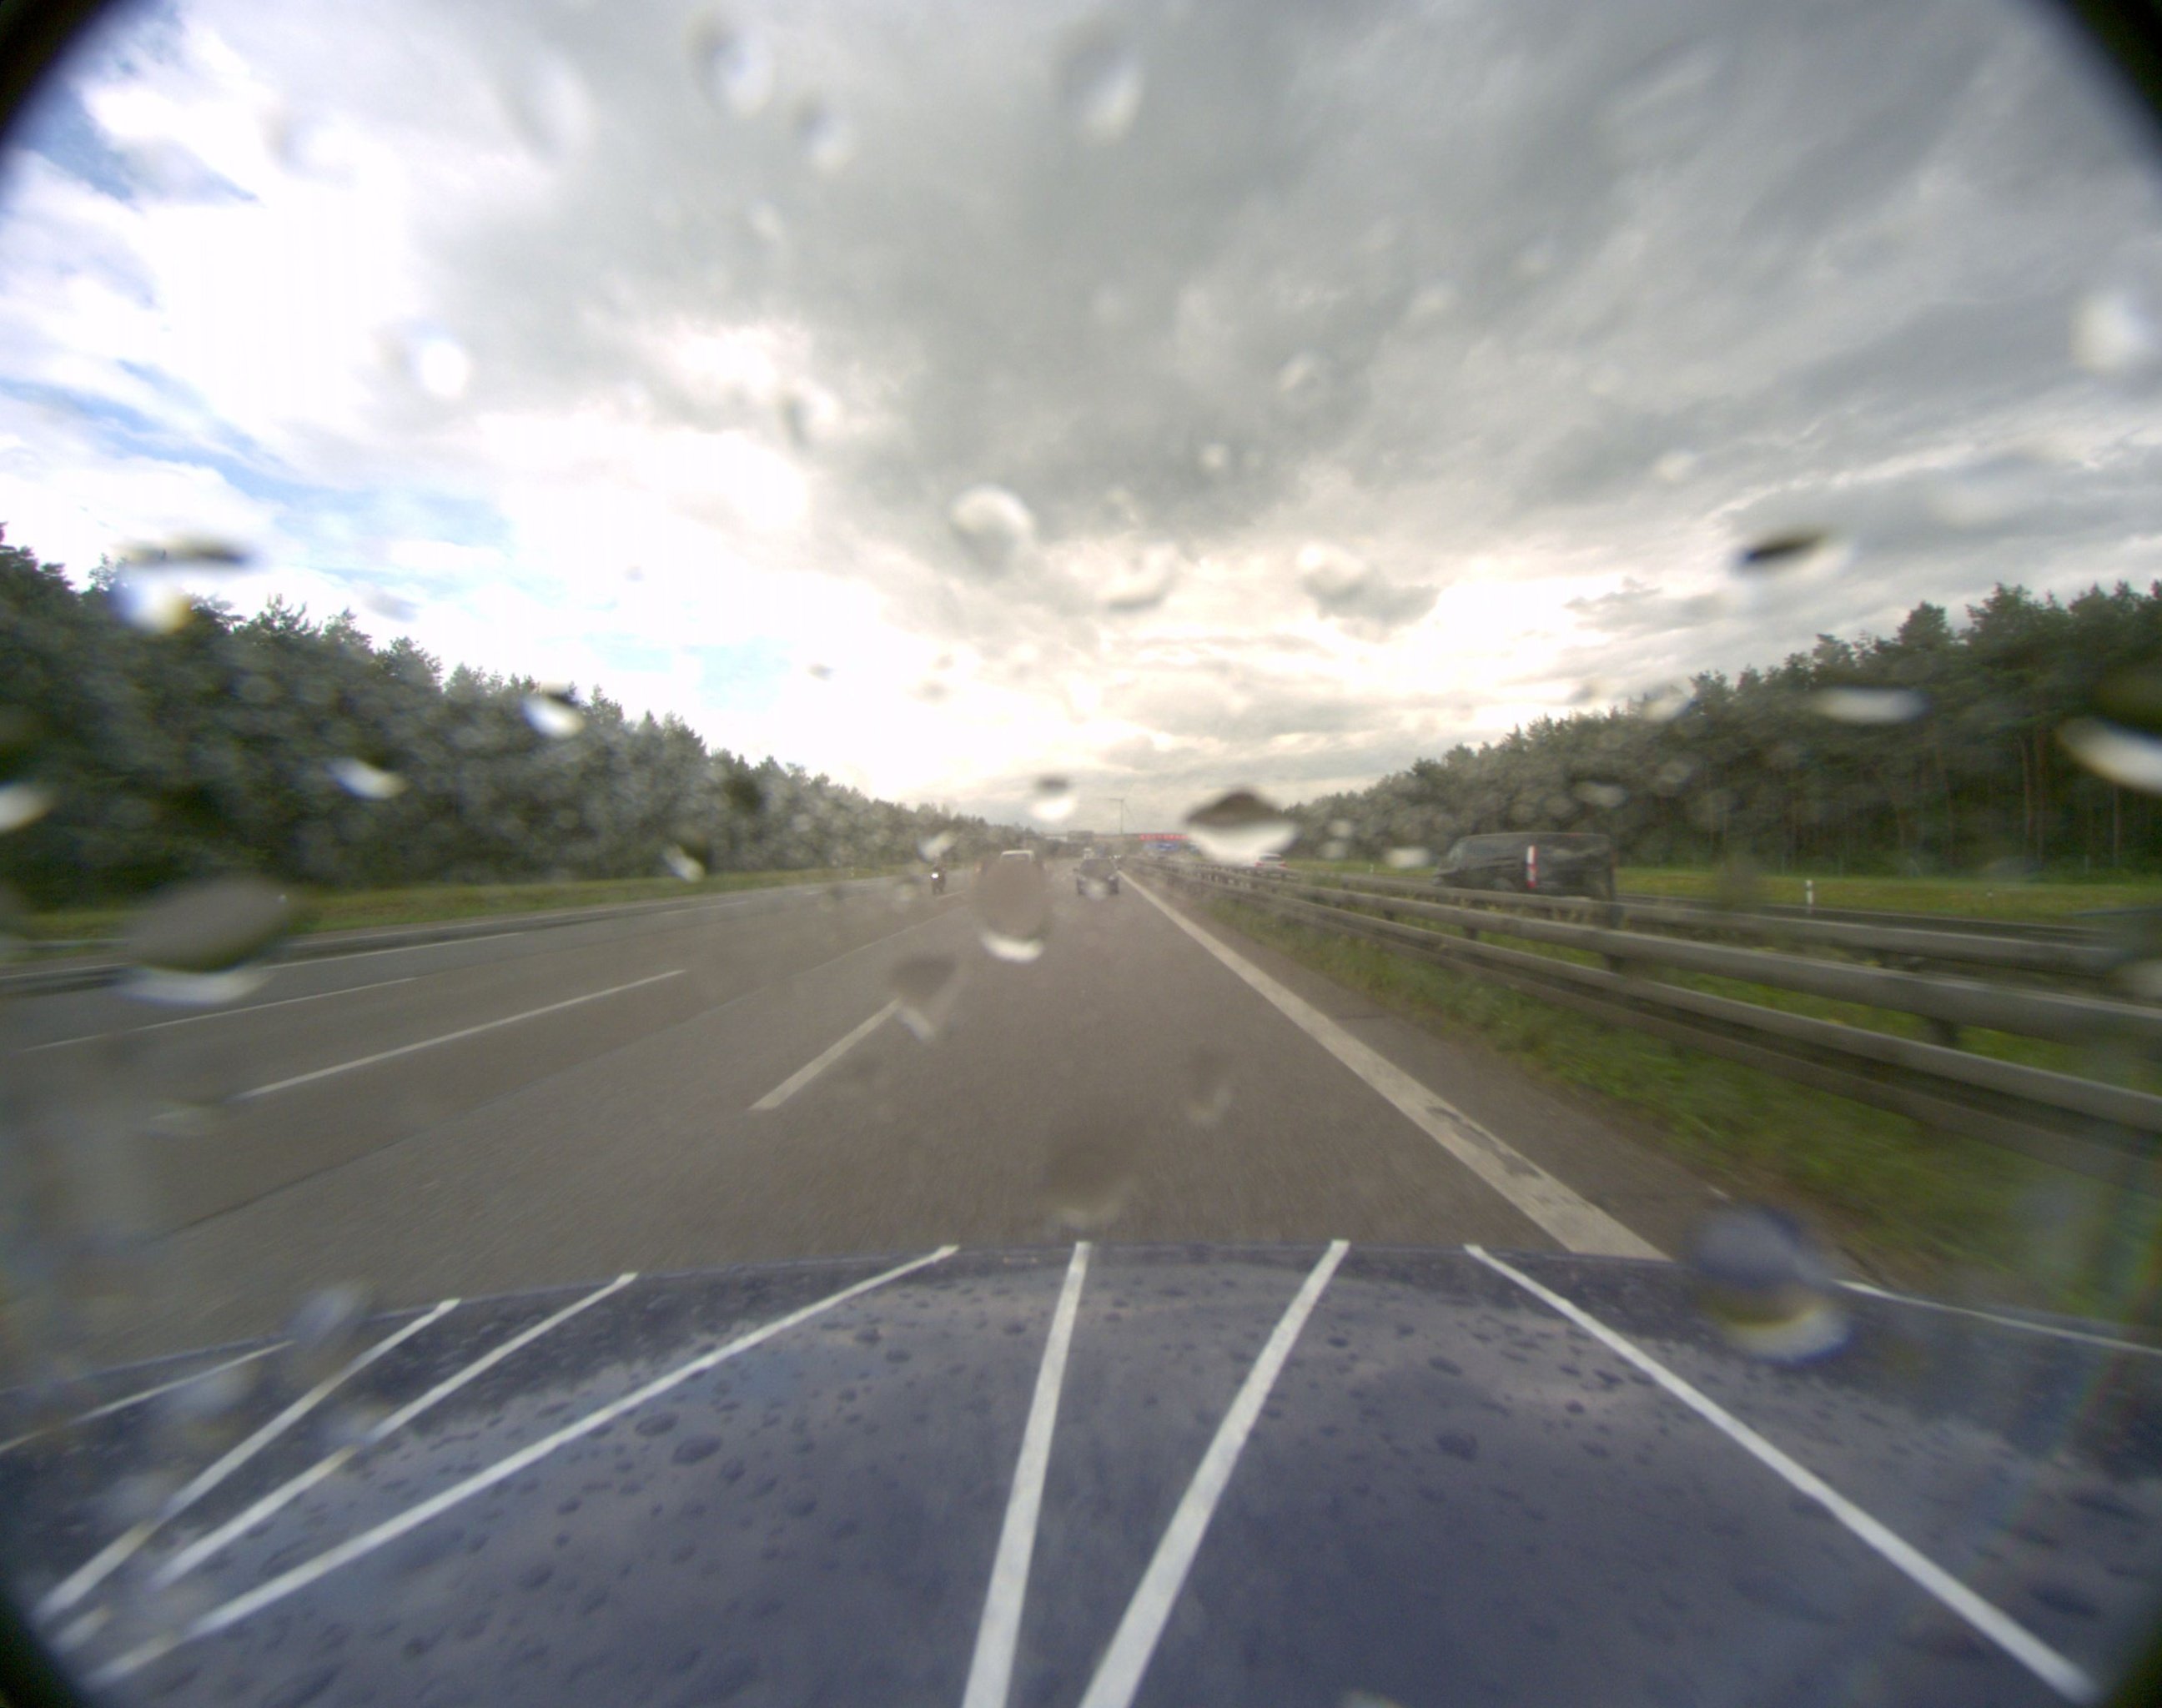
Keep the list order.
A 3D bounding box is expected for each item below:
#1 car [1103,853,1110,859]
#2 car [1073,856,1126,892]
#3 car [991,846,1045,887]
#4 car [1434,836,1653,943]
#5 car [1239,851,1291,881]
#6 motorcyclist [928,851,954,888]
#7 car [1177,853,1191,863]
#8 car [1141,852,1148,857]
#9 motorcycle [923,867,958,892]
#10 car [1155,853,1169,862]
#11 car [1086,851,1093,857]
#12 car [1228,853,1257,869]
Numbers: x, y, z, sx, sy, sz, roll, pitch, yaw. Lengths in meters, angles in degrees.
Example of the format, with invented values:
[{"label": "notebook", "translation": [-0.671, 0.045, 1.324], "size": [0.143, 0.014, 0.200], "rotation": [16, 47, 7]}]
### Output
[{"label": "car", "translation": [7.663, 0.528, 224.880], "size": [1.832, 1.838, 3.999], "rotation": [-2, 0, -1]}, {"label": "car", "translation": [0.820, 0.782, 30.944], "size": [1.809, 1.321, 4.433], "rotation": [0, 0, 6]}, {"label": "car", "translation": [-3.100, 0.611, 38.344], "size": [1.968, 1.890, 4.883], "rotation": [-1, 0, 4]}, {"label": "car", "translation": [9.737, 0.652, 16.541], "size": [1.998, 2.002, 4.626], "rotation": [0, 0, 1]}, {"label": "car", "translation": [10.253, 0.646, 42.664], "size": [1.864, 1.579, 4.490], "rotation": [0, 0, 1]}, {"label": "motorcyclist", "translation": [-6.203, 0.685, 33.696], "size": [0.893, 1.605, 0.959], "rotation": [-1, 1, 3]}, {"label": "car", "translation": [16.460, 0.638, 121.362], "size": [1.732, 1.472, 4.000], "rotation": [0, 0, 0]}, {"label": "car", "translation": [18.375, 0.163, 220.934], "size": [1.789, 1.538, 4.403], "rotation": [1, 0, 1]}, {"label": "motorcycle", "translation": [-6.189, 1.118, 33.613], "size": [1.002, 1.025, 2.174], "rotation": [-1, 0, 4]}, {"label": "car", "translation": [12.804, 0.585, 119.947], "size": [1.732, 1.381, 4.092], "rotation": [1, 0, 0]}, {"label": "car", "translation": [2.875, 0.069, 254.403], "size": [1.998, 2.002, 4.001], "rotation": [0, 0, 3]}, {"label": "car", "translation": [14.769, 0.607, 69.816], "size": [1.816, 1.414, 4.236], "rotation": [2, 0, 1]}]
